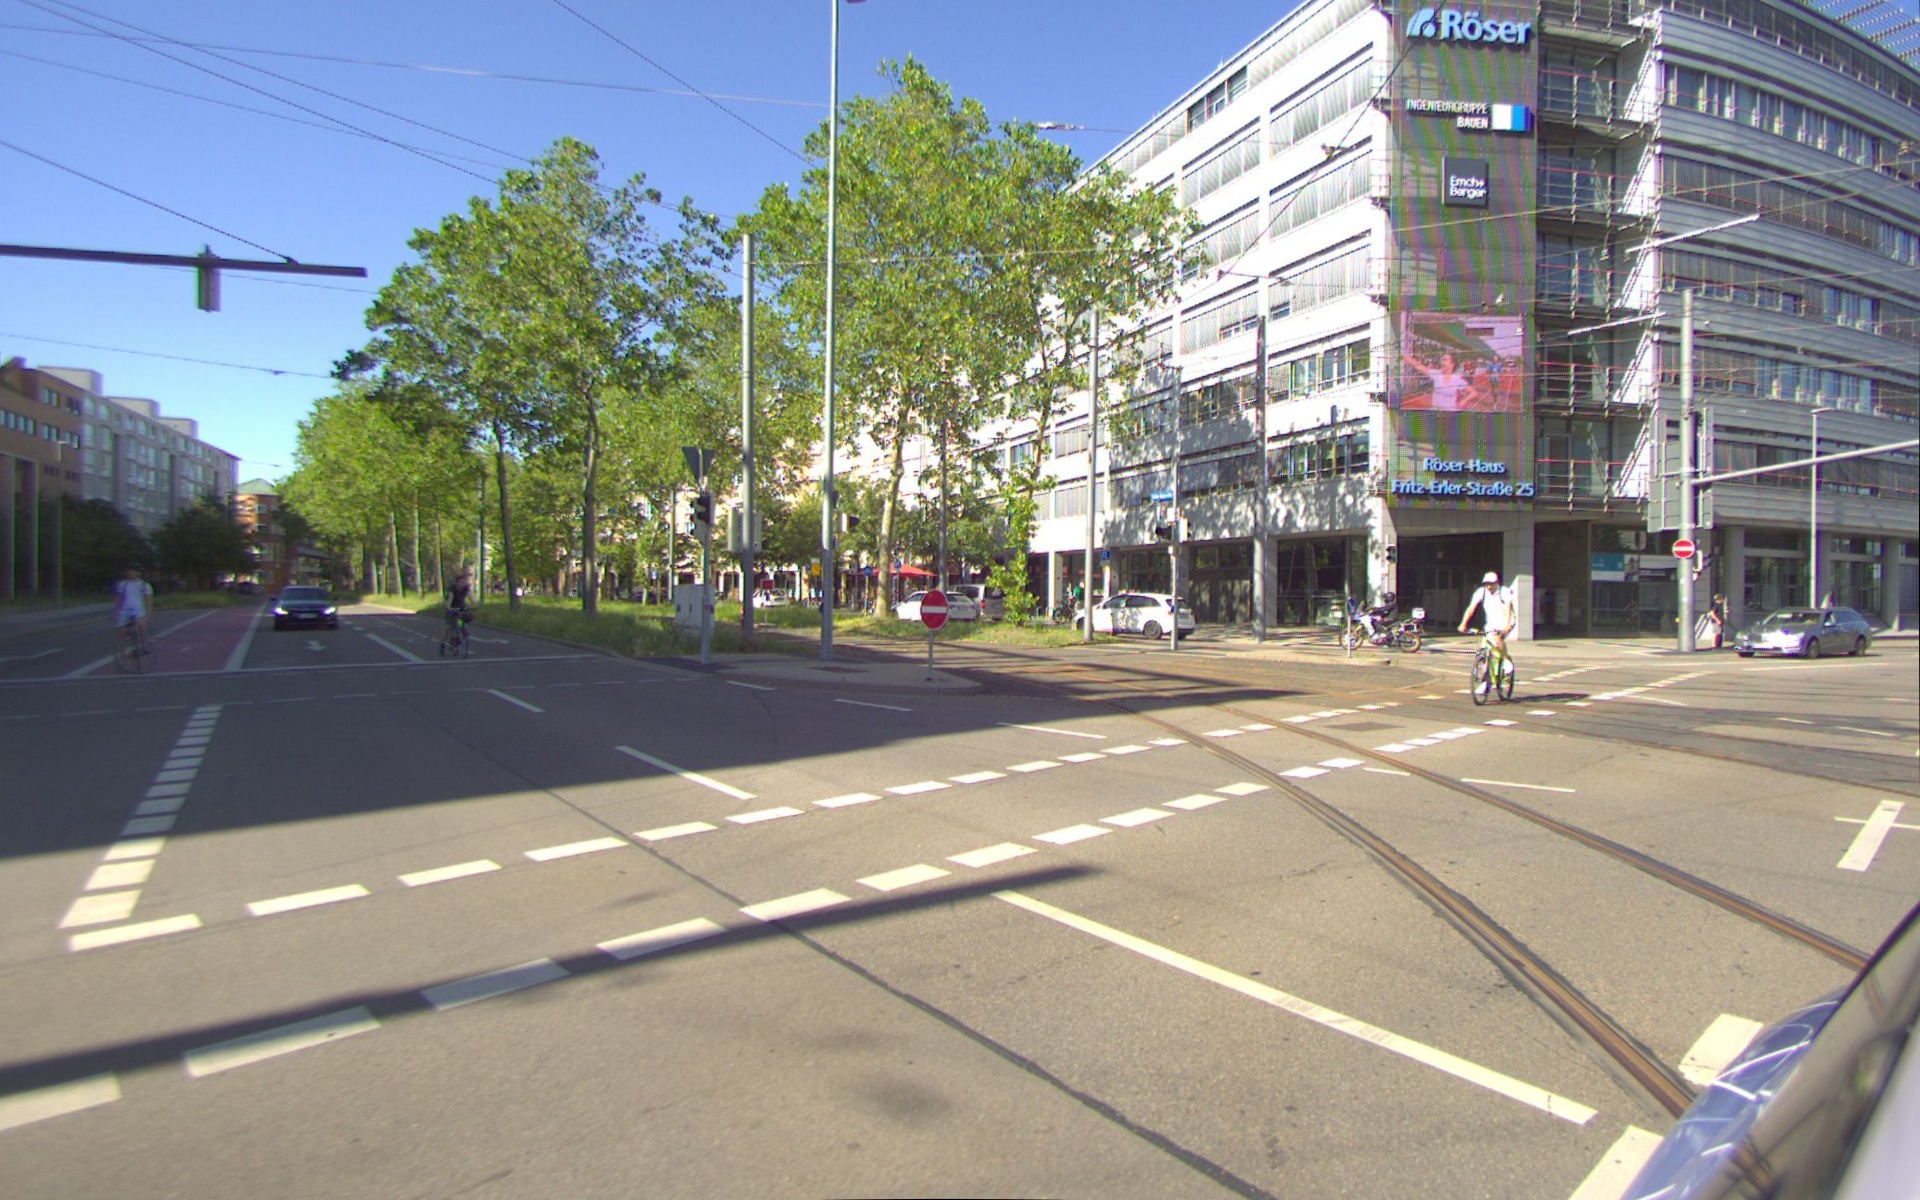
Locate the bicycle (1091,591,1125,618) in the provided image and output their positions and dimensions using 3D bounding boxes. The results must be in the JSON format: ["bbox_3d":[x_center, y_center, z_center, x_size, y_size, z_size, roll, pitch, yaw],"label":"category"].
[{"bbox_3d":[6.938,0.203,47.404,1.696,1.235,0.469,0,1,-31],"label":"bicycle"}]

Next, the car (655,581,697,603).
[{"bbox_3d":[-23.132,-0.642,82.284,1.877,1.604,3.996,3,-3,-38],"label":"car"}]

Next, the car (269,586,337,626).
[{"bbox_3d":[-22.555,0.171,34.851,1.703,1.282,4.005,0,1,-29],"label":"car"}]

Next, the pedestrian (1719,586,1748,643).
[{"bbox_3d":[25.179,0.451,32.965,0.603,1.820,0.633,2,1,29],"label":"pedestrian"}]

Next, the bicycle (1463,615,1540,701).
[{"bbox_3d":[7.750,0.790,14.450,0.648,1.124,1.733,0,0,40],"label":"bicycle"}]

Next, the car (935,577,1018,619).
[{"bbox_3d":[0.727,-0.112,48.120,1.786,1.875,4.391,-1,1,-34],"label":"car"}]

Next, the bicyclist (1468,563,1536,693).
[{"bbox_3d":[7.718,0.376,14.405,0.648,1.774,1.030,1,0,40],"label":"bicyclist"}]

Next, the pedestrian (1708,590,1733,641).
[{"bbox_3d":[25.275,0.495,33.653,0.557,1.666,0.424,2,1,29],"label":"pedestrian"}]

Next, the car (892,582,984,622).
[{"bbox_3d":[-0.966,0.120,41.752,1.875,1.561,4.138,1,-2,-33],"label":"car"}]

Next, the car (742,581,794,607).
[{"bbox_3d":[-12.988,-0.360,68.331,1.877,1.604,3.996,3,-3,-38],"label":"car"}]

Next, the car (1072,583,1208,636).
[{"bbox_3d":[6.017,0.292,34.124,4.124,1.603,1.883,2,1,43],"label":"car"}]

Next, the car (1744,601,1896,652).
[{"bbox_3d":[25.577,0.754,30.077,4.689,1.414,1.730,0,0,-26],"label":"car"}]

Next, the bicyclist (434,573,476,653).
[{"bbox_3d":[-10.650,0.256,21.339,0.659,1.650,0.865,0,0,-36],"label":"bicyclist"}]

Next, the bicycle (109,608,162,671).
[{"bbox_3d":[-14.492,0.668,17.767,0.662,1.007,1.671,0,1,-41],"label":"bicycle"}]

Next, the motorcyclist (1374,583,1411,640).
[{"bbox_3d":[12.315,0.324,28.792,0.932,1.581,0.824,-1,-1,25],"label":"motorcyclist"}]

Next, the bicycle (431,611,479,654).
[{"bbox_3d":[-10.644,0.670,21.320,0.661,0.816,1.674,0,1,-36],"label":"bicycle"}]

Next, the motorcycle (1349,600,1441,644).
[{"bbox_3d":[12.365,0.623,28.828,2.365,1.216,0.824,-1,-1,25],"label":"motorcycle"}]

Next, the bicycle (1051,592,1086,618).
[{"bbox_3d":[5.148,0.229,47.951,1.696,1.235,0.469,0,1,-31],"label":"bicycle"}]

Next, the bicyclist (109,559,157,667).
[{"bbox_3d":[-14.968,0.222,18.317,0.639,1.907,0.606,0,0,-42],"label":"bicyclist"}]

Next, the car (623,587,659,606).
[{"bbox_3d":[-29.628,-0.298,93.817,1.877,1.604,3.996,3,-3,-38],"label":"car"}]

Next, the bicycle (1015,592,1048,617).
[{"bbox_3d":[3.597,0.212,50.868,1.696,1.235,0.469,0,1,-31],"label":"bicycle"}]

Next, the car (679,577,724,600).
[{"bbox_3d":[-19.685,-0.852,77.061,1.877,1.604,3.996,3,-3,-38],"label":"car"}]
